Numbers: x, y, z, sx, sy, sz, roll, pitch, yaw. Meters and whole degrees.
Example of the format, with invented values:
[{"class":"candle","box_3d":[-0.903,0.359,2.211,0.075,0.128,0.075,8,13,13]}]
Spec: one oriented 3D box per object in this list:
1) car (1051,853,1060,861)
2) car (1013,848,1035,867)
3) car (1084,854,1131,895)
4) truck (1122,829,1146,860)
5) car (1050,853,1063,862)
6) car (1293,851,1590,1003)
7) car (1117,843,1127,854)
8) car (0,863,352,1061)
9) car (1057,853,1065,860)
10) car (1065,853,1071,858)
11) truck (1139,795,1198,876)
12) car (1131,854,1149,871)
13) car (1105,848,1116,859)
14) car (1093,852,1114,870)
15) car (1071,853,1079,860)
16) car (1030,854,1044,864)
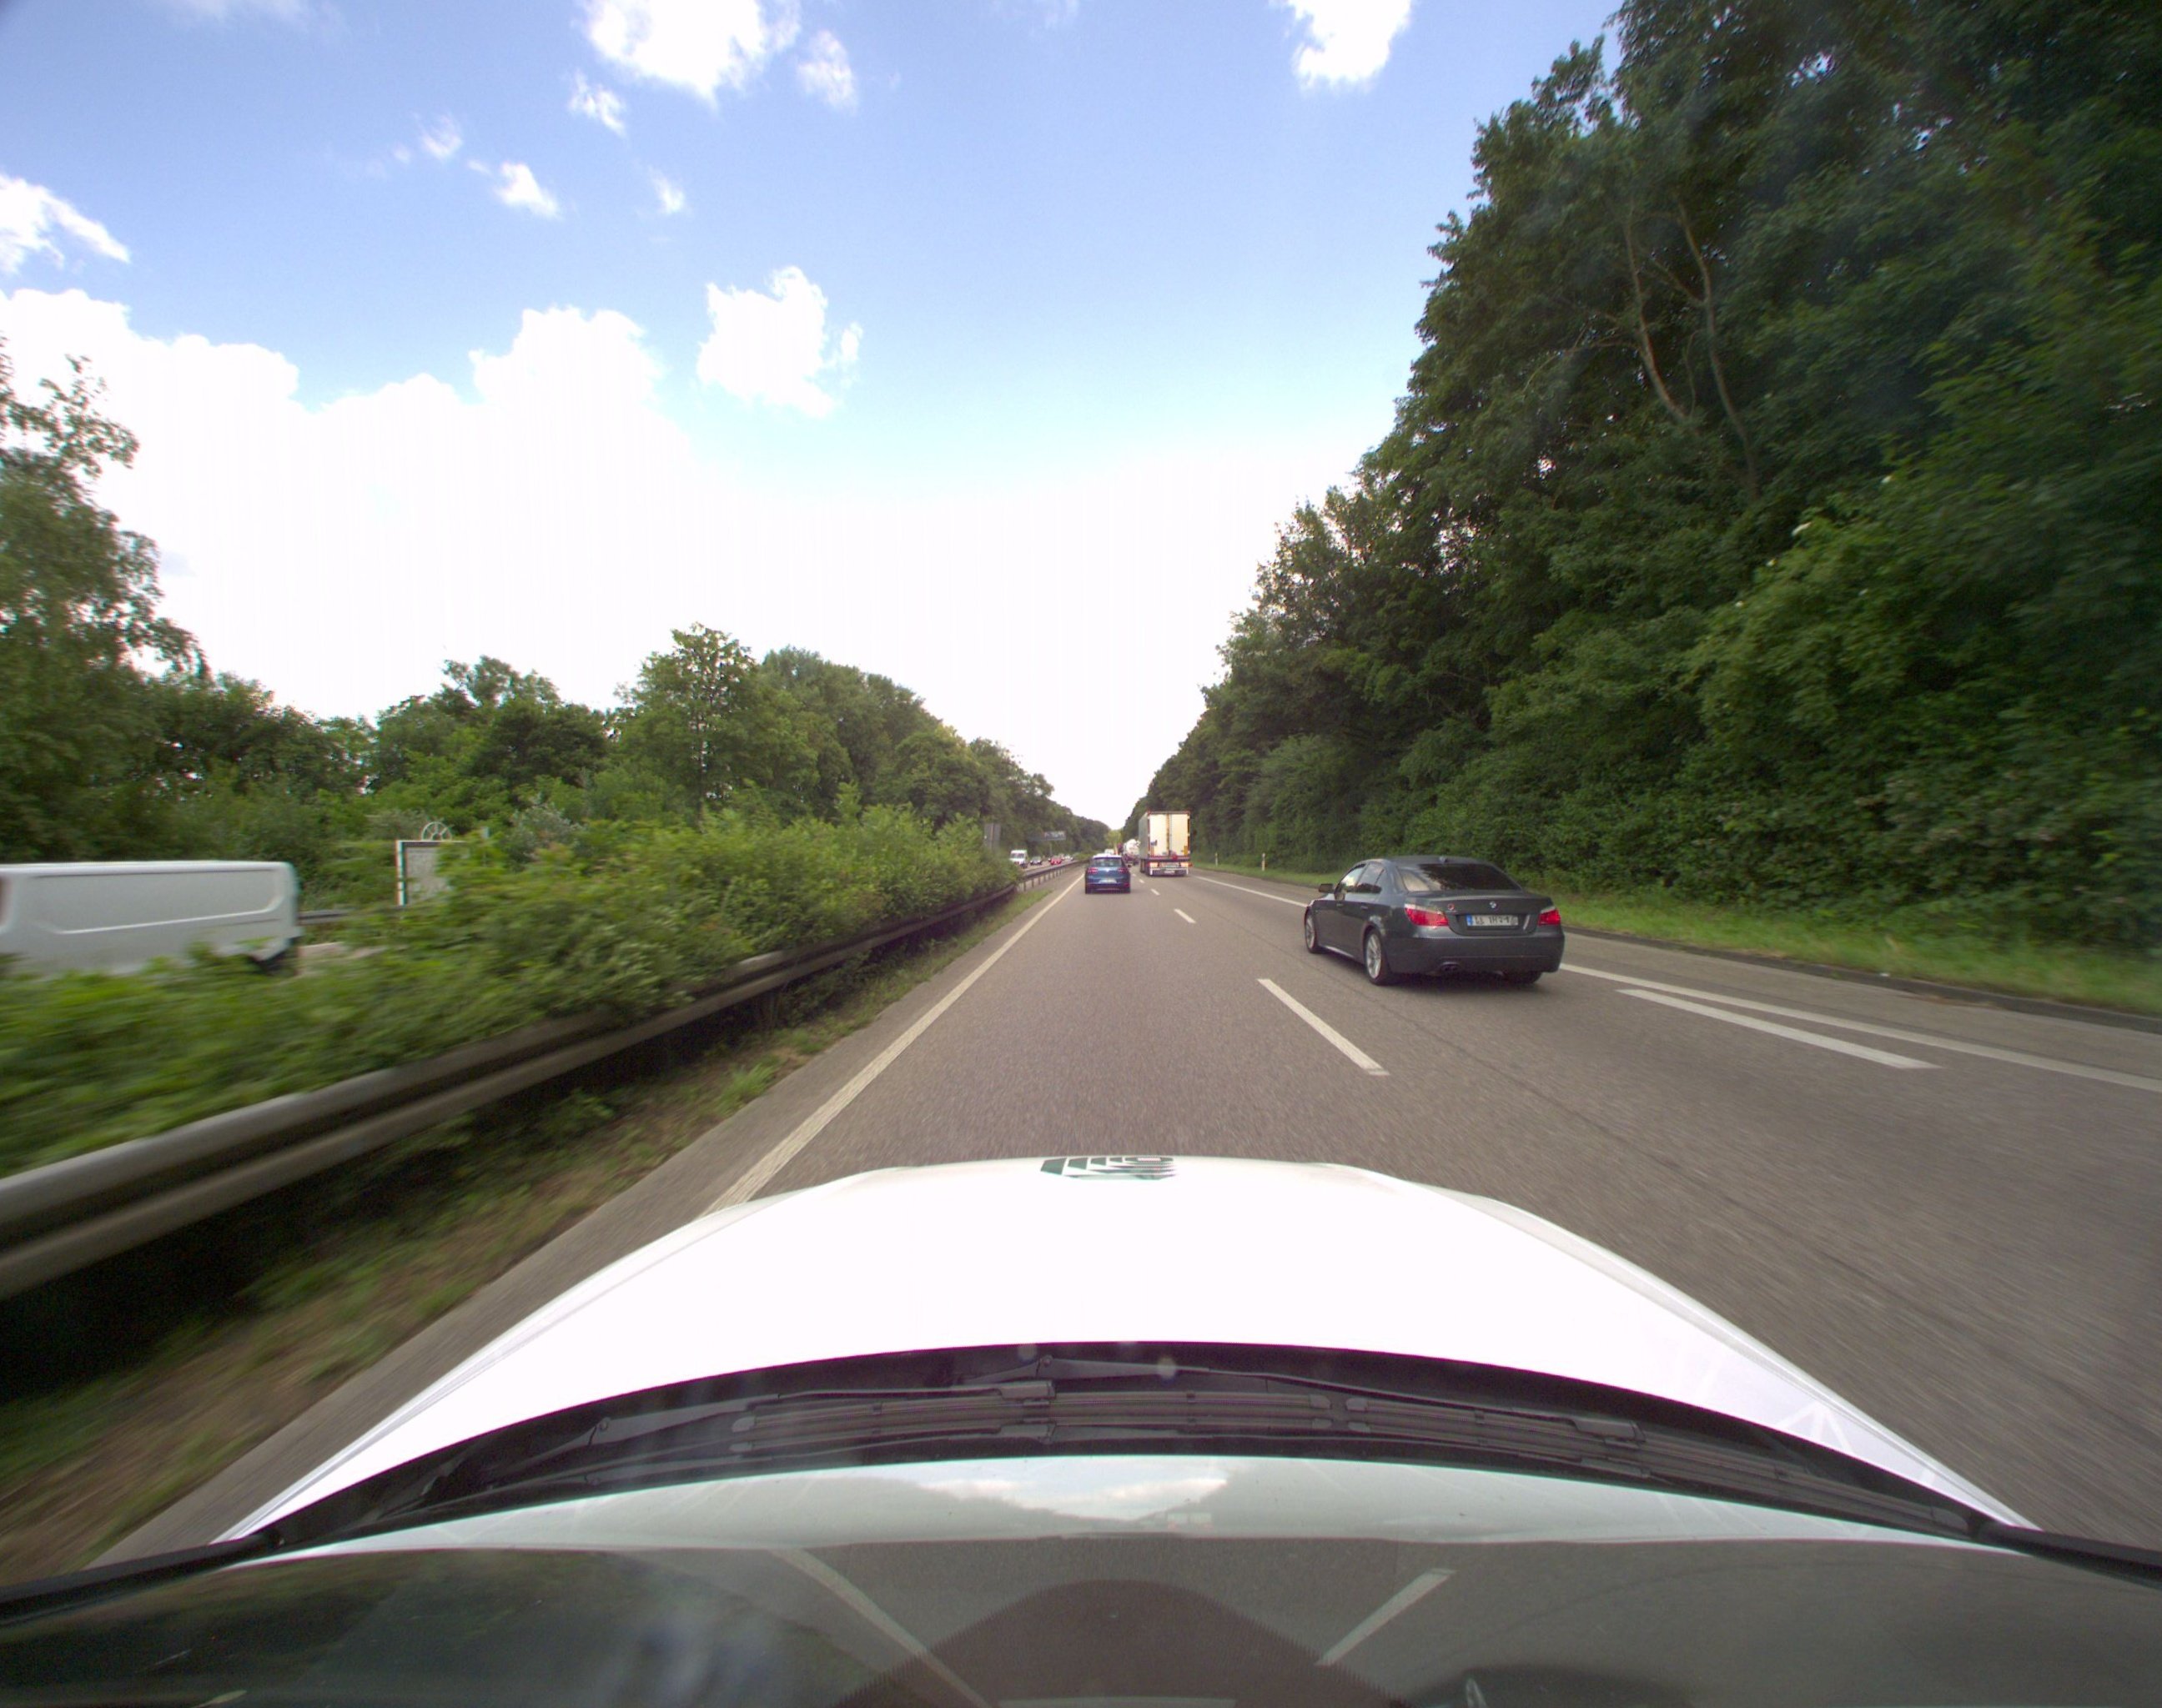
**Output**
[{"class":"car","box_3d":[-5.696,0.679,180.198,1.673,1.519,4.860,-2,0,1]},{"class":"car","box_3d":[-7.505,0.481,107.379,2.102,2.423,5.835,-1,0,3]},{"class":"car","box_3d":[1.030,0.738,32.003,1.699,1.470,4.001,-1,0,1]},{"class":"truck","box_3d":[7.803,-1.275,122.313,3.219,4.386,12.977,-1,0,2]},{"class":"car","box_3d":[-3.801,0.534,127.971,1.671,1.454,4.130,-1,0,3]},{"class":"car","box_3d":[4.192,0.710,10.484,1.768,1.475,4.882,-1,0,2]},{"class":"car","box_3d":[9.079,-1.179,180.979,1.987,2.327,4.441,-2,0,-1]},{"class":"car","box_3d":[-11.827,1.148,9.204,1.986,1.929,5.538,-2,0,2]},{"class":"car","box_3d":[-5.057,0.702,208.385,1.753,1.593,4.635,-2,0,1]},{"class":"car","box_3d":[-4.132,0.519,258.982,1.531,1.396,3.512,-3,0,1]},{"class":"truck","box_3d":[5.620,-1.135,54.344,3.228,4.715,11.017,-2,0,3]},{"class":"car","box_3d":[6.854,0.971,94.485,1.881,1.729,4.002,-3,0,2]},{"class":"car","box_3d":[6.207,-0.193,172.311,1.987,2.255,4.441,-2,0,-1]},{"class":"car","box_3d":[1.954,0.566,69.915,1.659,1.500,4.154,-1,0,2]},{"class":"car","box_3d":[-1.467,0.649,191.638,1.774,1.519,4.267,-2,0,1]},{"class":"car","box_3d":[-7.348,0.812,136.271,1.778,1.478,4.573,-2,0,3]}]
